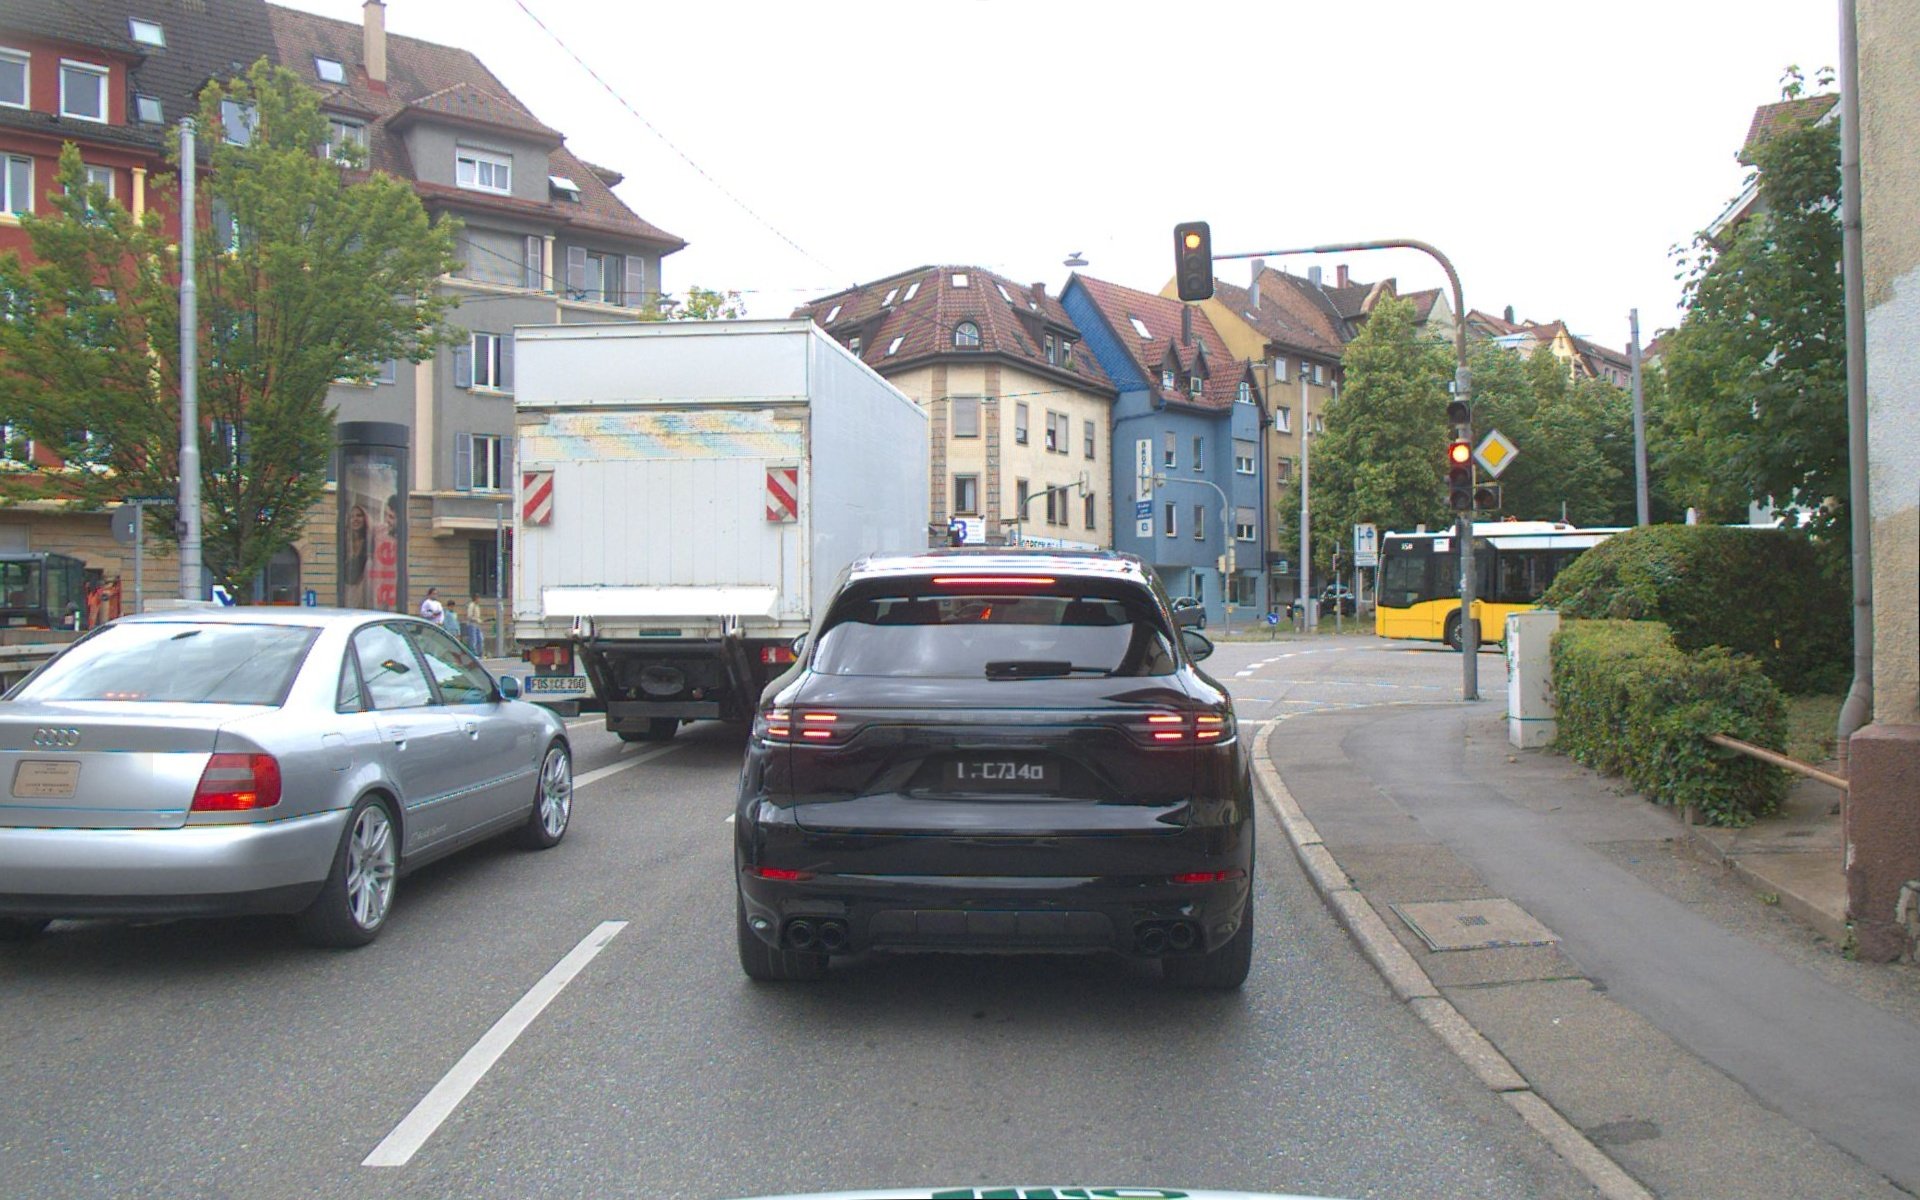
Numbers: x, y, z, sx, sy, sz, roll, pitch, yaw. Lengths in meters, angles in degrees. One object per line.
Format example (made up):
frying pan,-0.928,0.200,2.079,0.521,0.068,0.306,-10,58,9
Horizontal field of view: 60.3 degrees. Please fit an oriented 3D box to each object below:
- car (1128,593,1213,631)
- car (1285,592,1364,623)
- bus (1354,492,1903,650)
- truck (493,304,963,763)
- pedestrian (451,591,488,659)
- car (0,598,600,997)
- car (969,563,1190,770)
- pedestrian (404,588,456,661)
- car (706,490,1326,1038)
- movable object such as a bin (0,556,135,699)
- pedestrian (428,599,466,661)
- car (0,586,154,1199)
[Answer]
car,9.109,0.548,71.251,1.690,1.502,4.197,0,-2,39
car,17.988,0.390,81.505,1.841,1.441,4.673,-1,-1,40
bus,15.018,-0.492,38.719,3.134,3.150,11.987,-1,-1,-37
truck,-1.863,-0.534,17.328,2.667,3.606,8.428,-1,0,8
pedestrian,-11.077,0.562,37.335,0.648,1.513,0.515,-1,0,-43
car,-3.099,0.707,7.956,1.594,1.389,4.130,-1,0,3
car,1.173,0.523,14.712,1.613,1.583,3.586,1,0,9
pedestrian,-11.551,0.521,36.070,0.777,1.573,0.738,-1,0,26
car,0.155,0.530,7.629,1.990,1.753,4.499,1,0,-1
movable object such as a bin,-13.949,0.389,25.475,1.351,2.049,3.525,-1,0,-12
pedestrian,-11.428,0.663,36.836,0.566,1.361,0.581,-1,0,42
car,-2.711,0.724,1.173,1.953,1.454,4.841,-1,0,-1
